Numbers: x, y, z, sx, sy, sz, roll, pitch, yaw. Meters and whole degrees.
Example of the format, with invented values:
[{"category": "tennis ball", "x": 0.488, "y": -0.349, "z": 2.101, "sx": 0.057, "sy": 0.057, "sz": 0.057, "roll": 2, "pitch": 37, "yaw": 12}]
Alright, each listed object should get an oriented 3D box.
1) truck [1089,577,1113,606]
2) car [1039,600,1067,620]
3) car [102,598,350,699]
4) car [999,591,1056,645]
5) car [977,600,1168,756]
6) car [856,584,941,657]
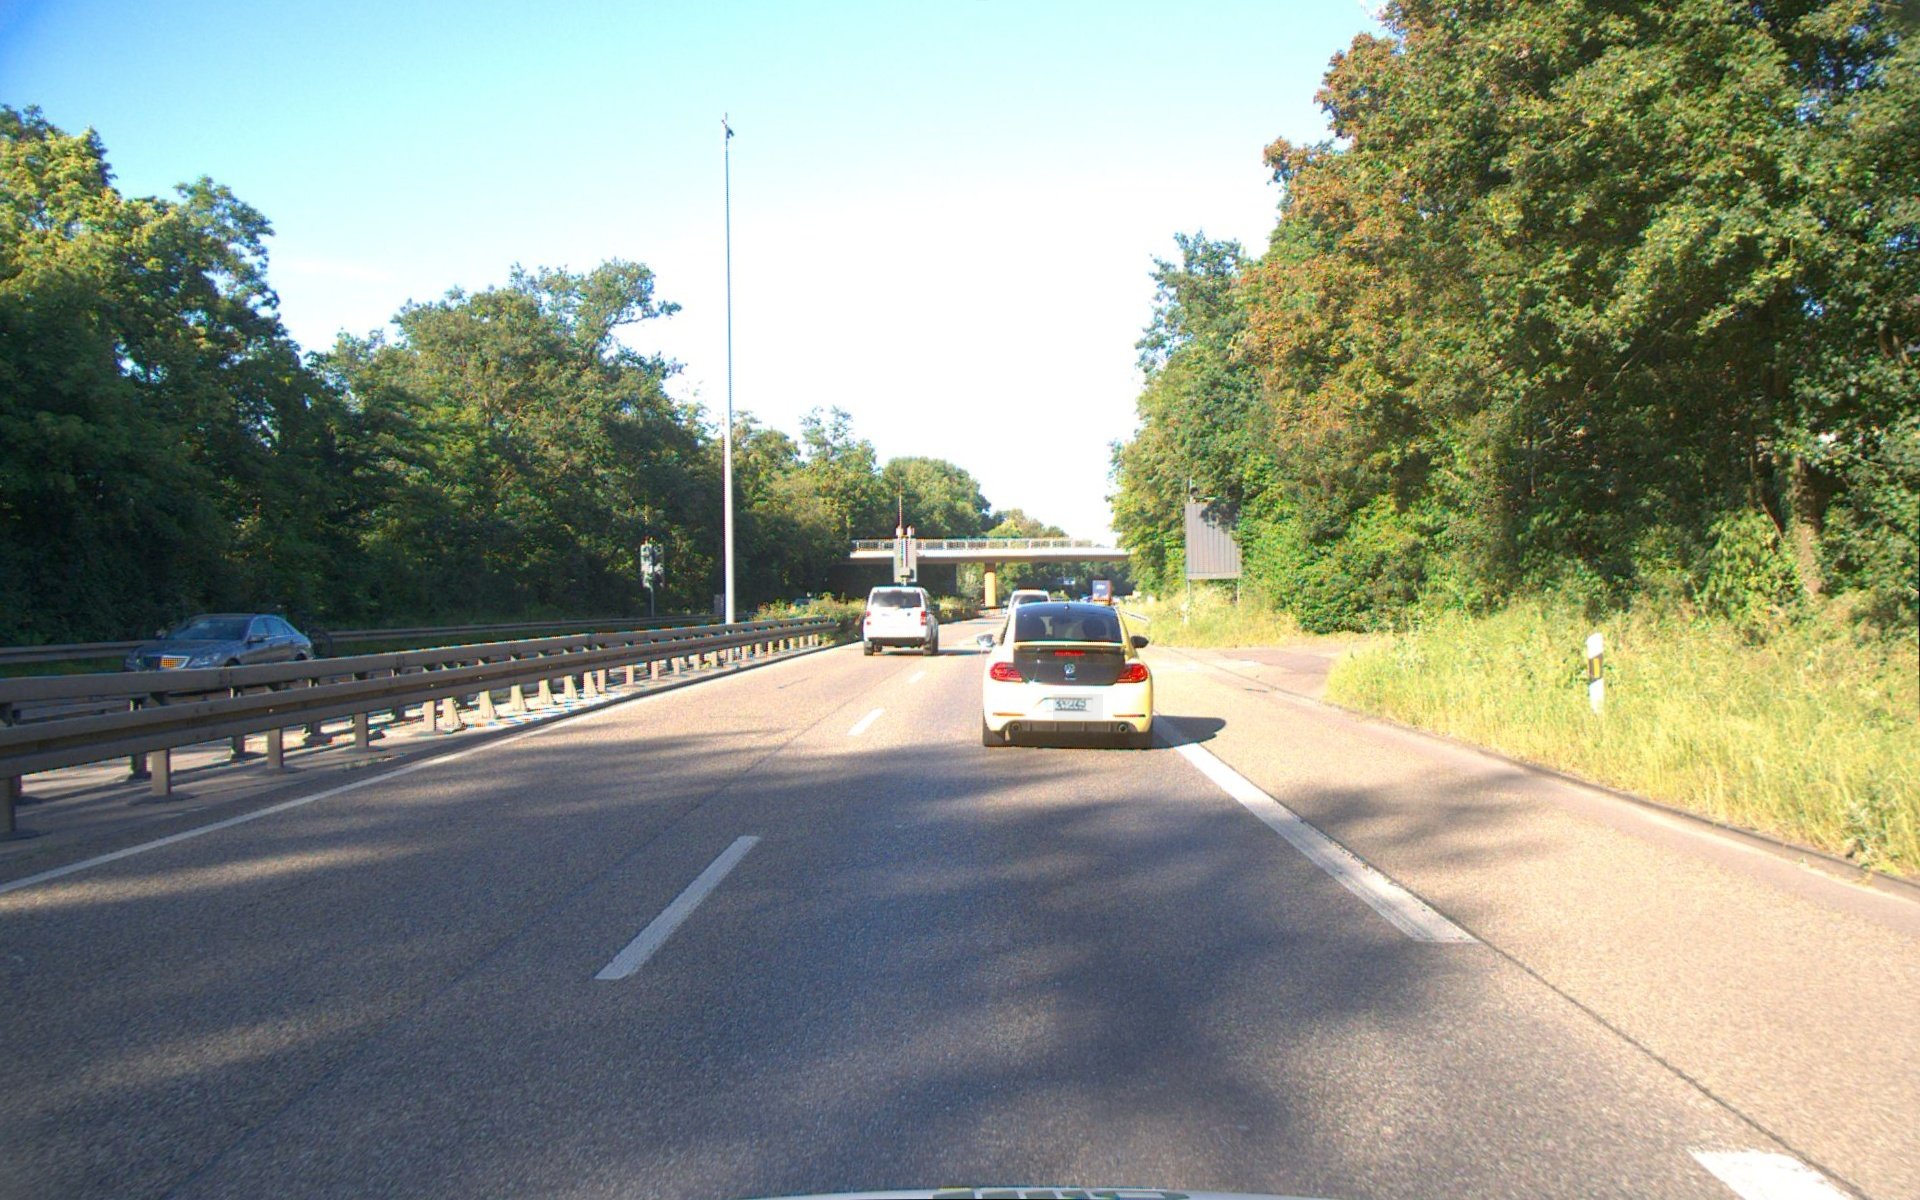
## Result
[{"category": "truck", "x": 21.673, "y": -1.299, "z": 254.266, "sx": 3.421, "sy": 4.246, "sz": 8.868, "roll": -1, "pitch": 0, "yaw": 7}, {"category": "car", "x": 7.122, "y": 0.752, "z": 126.338, "sx": 1.951, "sy": 1.422, "sz": 4.003, "roll": -1, "pitch": 0, "yaw": 6}, {"category": "car", "x": -14.034, "y": 0.851, "z": 32.133, "sx": 2.076, "sy": 1.755, "sz": 5.877, "roll": 0, "pitch": 0, "yaw": 1}, {"category": "car", "x": 2.374, "y": 0.608, "z": 58.752, "sx": 1.825, "sy": 1.801, "sz": 4.469, "roll": -1, "pitch": 0, "yaw": 0}, {"category": "car", "x": 1.146, "y": 0.764, "z": 18.315, "sx": 1.841, "sy": 1.487, "sz": 4.356, "roll": 1, "pitch": 0, "yaw": 1}, {"category": "car", "x": -1.616, "y": 0.521, "z": 44.529, "sx": 2.042, "sy": 1.860, "sz": 4.000, "roll": -1, "pitch": 0, "yaw": 1}]
